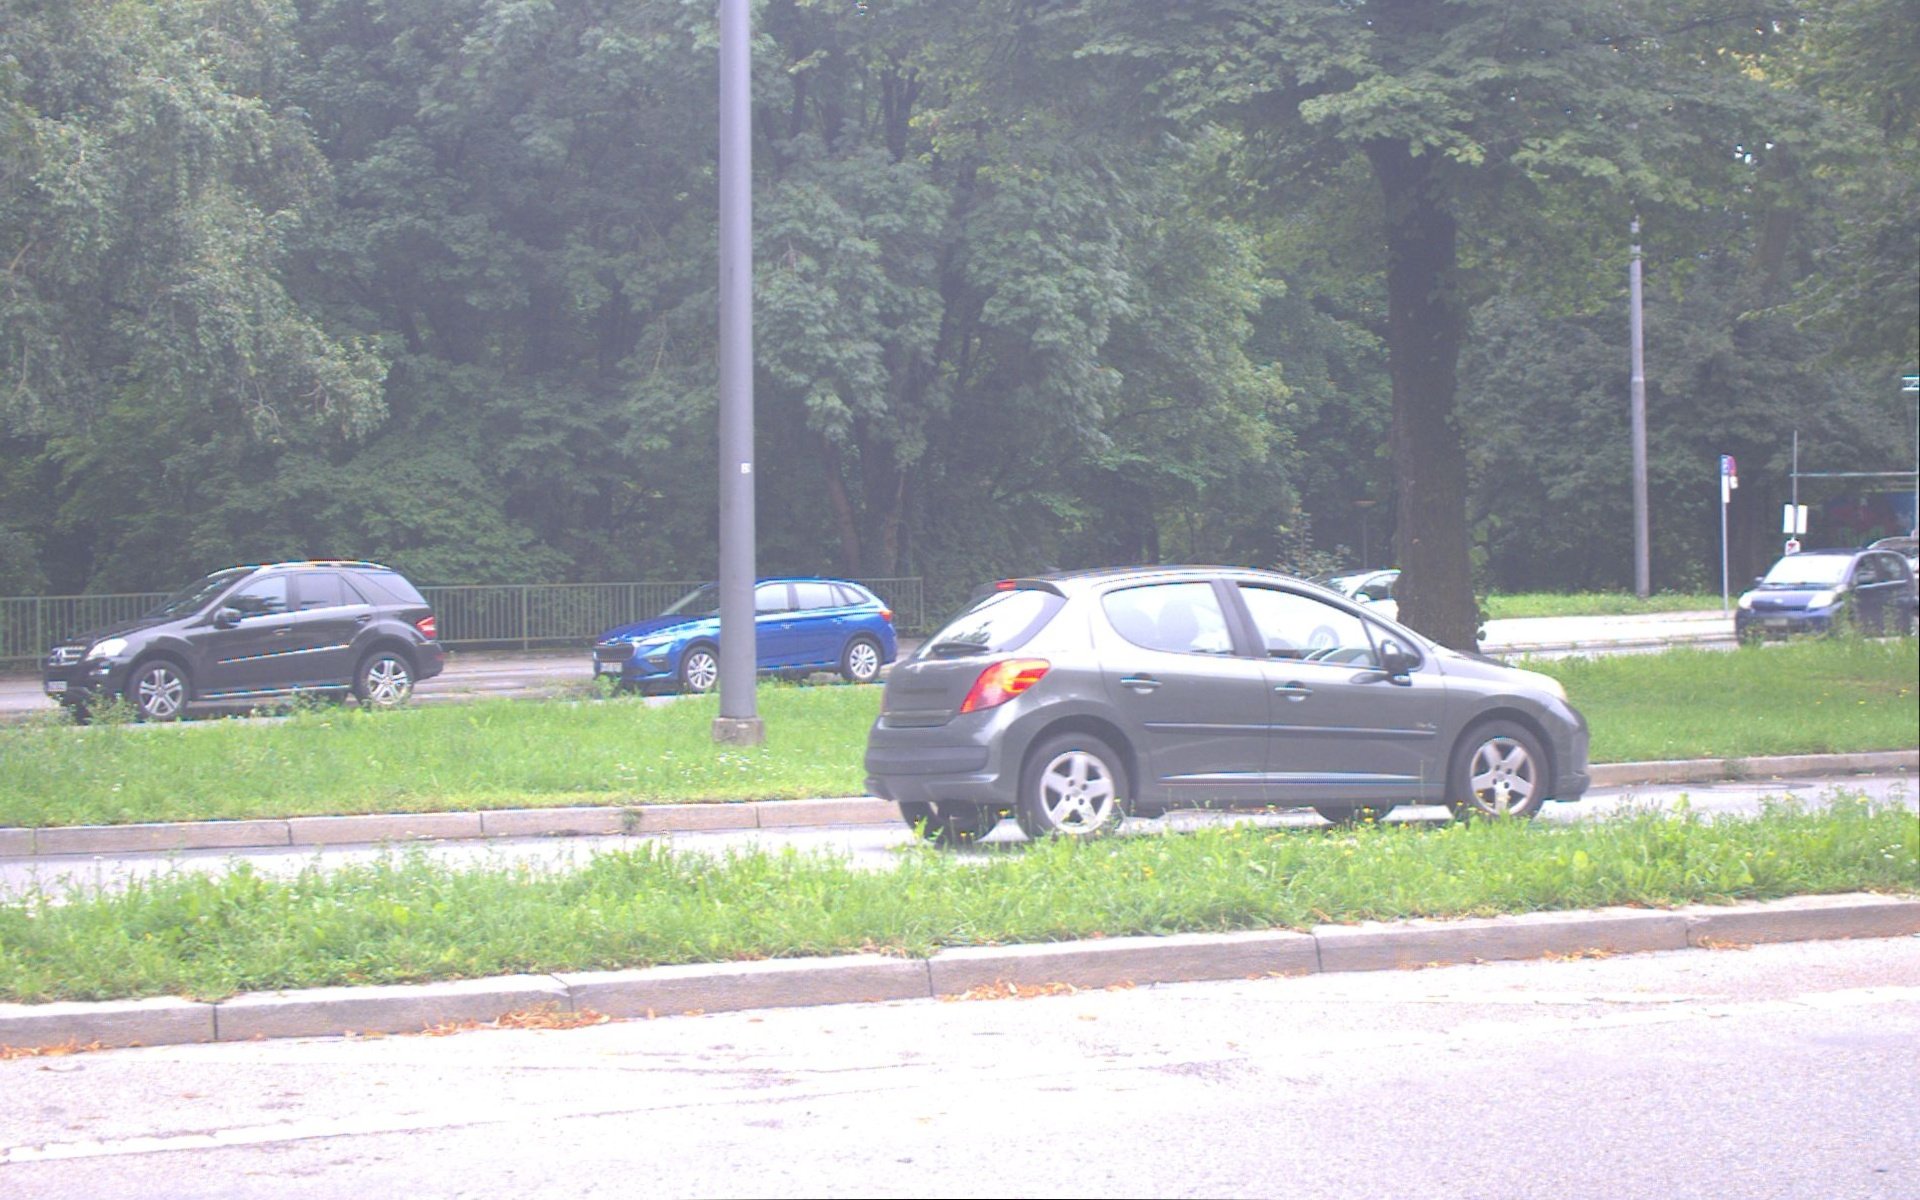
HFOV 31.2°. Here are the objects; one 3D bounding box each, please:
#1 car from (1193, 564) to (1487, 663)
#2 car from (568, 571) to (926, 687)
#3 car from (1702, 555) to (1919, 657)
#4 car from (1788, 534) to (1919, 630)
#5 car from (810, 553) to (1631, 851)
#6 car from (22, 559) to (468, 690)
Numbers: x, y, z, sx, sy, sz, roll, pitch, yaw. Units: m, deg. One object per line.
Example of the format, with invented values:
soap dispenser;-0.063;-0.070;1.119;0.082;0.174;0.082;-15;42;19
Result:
car;5.853;0.191;52.681;4.411;1.441;1.999;-1;0;-41
car;-2.777;0.370;45.439;4.411;1.441;1.999;-1;0;-41
car;13.110;0.068;51.436;4.022;1.441;1.897;-1;1;-41
car;17.593;-0.337;63.835;4.635;1.712;1.999;-1;0;-41
car;1.411;0.483;18.509;4.060;1.456;1.765;0;0;-25
car;-8.369;0.266;40.490;4.755;1.441;1.999;-1;0;-40
